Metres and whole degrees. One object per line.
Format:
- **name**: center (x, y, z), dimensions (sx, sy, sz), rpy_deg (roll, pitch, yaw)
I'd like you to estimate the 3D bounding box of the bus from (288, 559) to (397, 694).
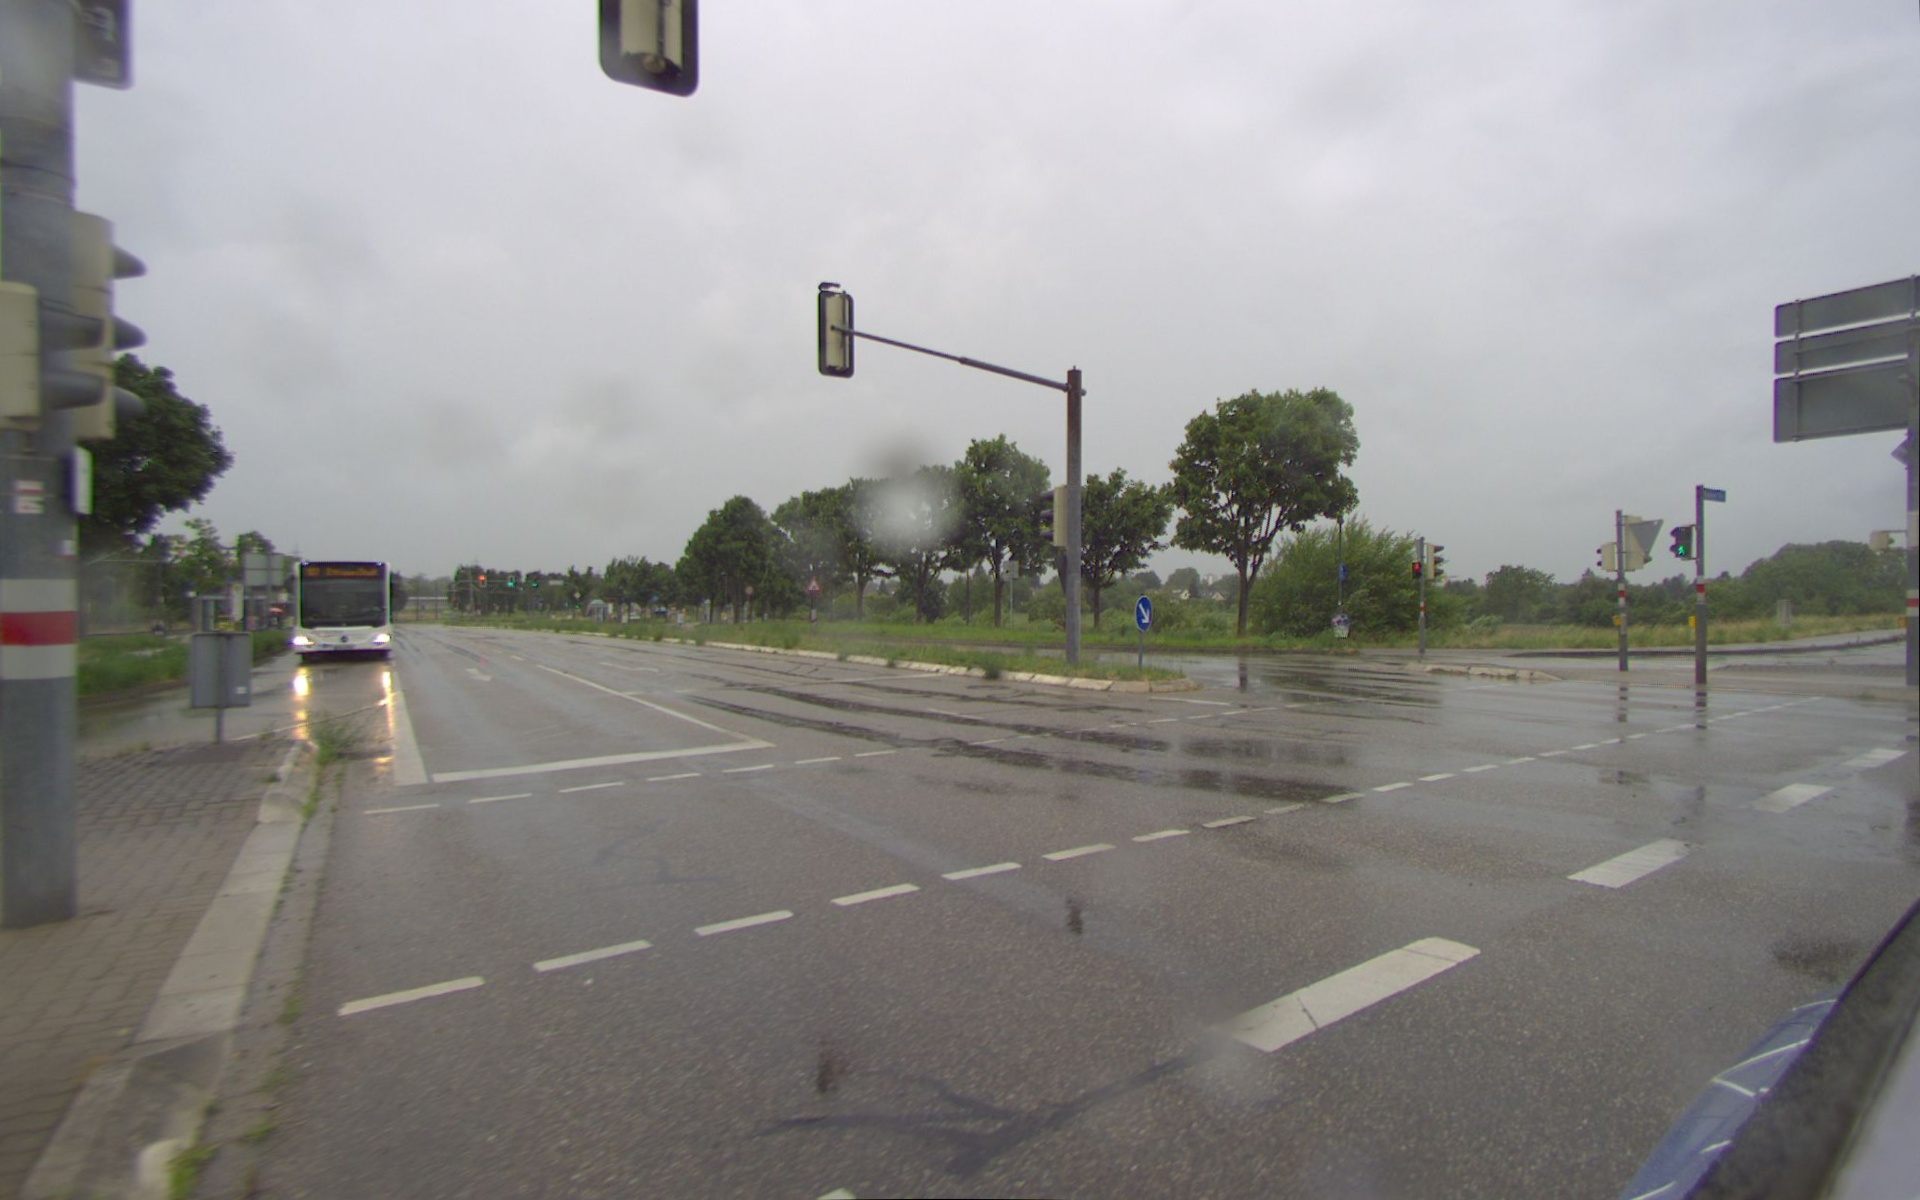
- **bus**: center (-22.622, 0.717, 37.329), dimensions (2.701, 3.832, 18.455), rpy_deg (0, 0, -31)
